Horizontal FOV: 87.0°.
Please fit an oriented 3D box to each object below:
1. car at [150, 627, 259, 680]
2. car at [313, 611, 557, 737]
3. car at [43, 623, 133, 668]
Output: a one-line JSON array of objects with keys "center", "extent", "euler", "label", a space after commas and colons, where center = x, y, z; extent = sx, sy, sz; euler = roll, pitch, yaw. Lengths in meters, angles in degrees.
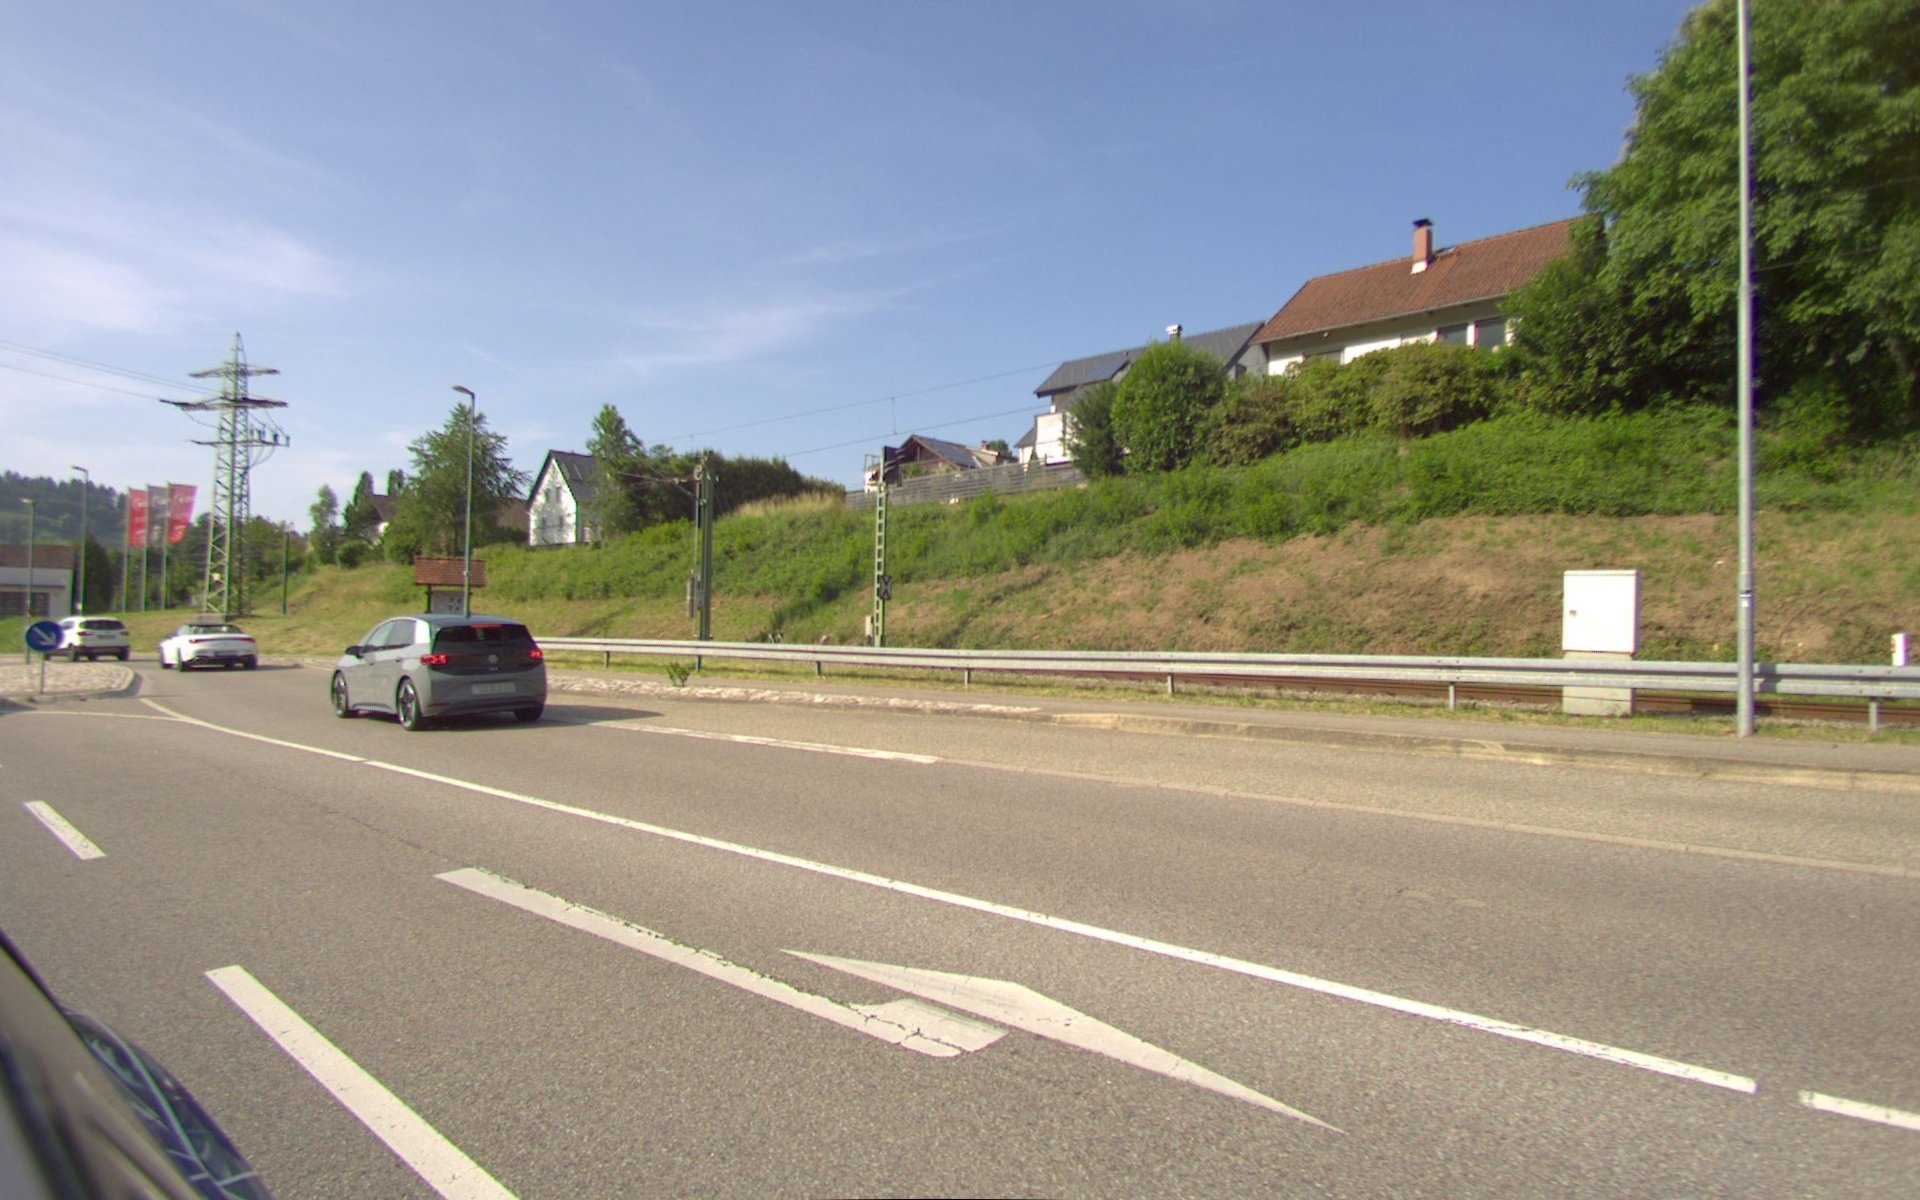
[{"center": [-22.661, 1.574, 30.285], "extent": [4.826, 1.410, 1.763], "euler": [-3, -2, 43], "label": "car"}, {"center": [-7.659, 0.966, 14.582], "extent": [4.203, 1.532, 1.740], "euler": [-2, -1, 42], "label": "car"}, {"center": [-32.970, 1.675, 38.232], "extent": [3.992, 1.572, 1.748], "euler": [-1, -1, 36], "label": "car"}]
